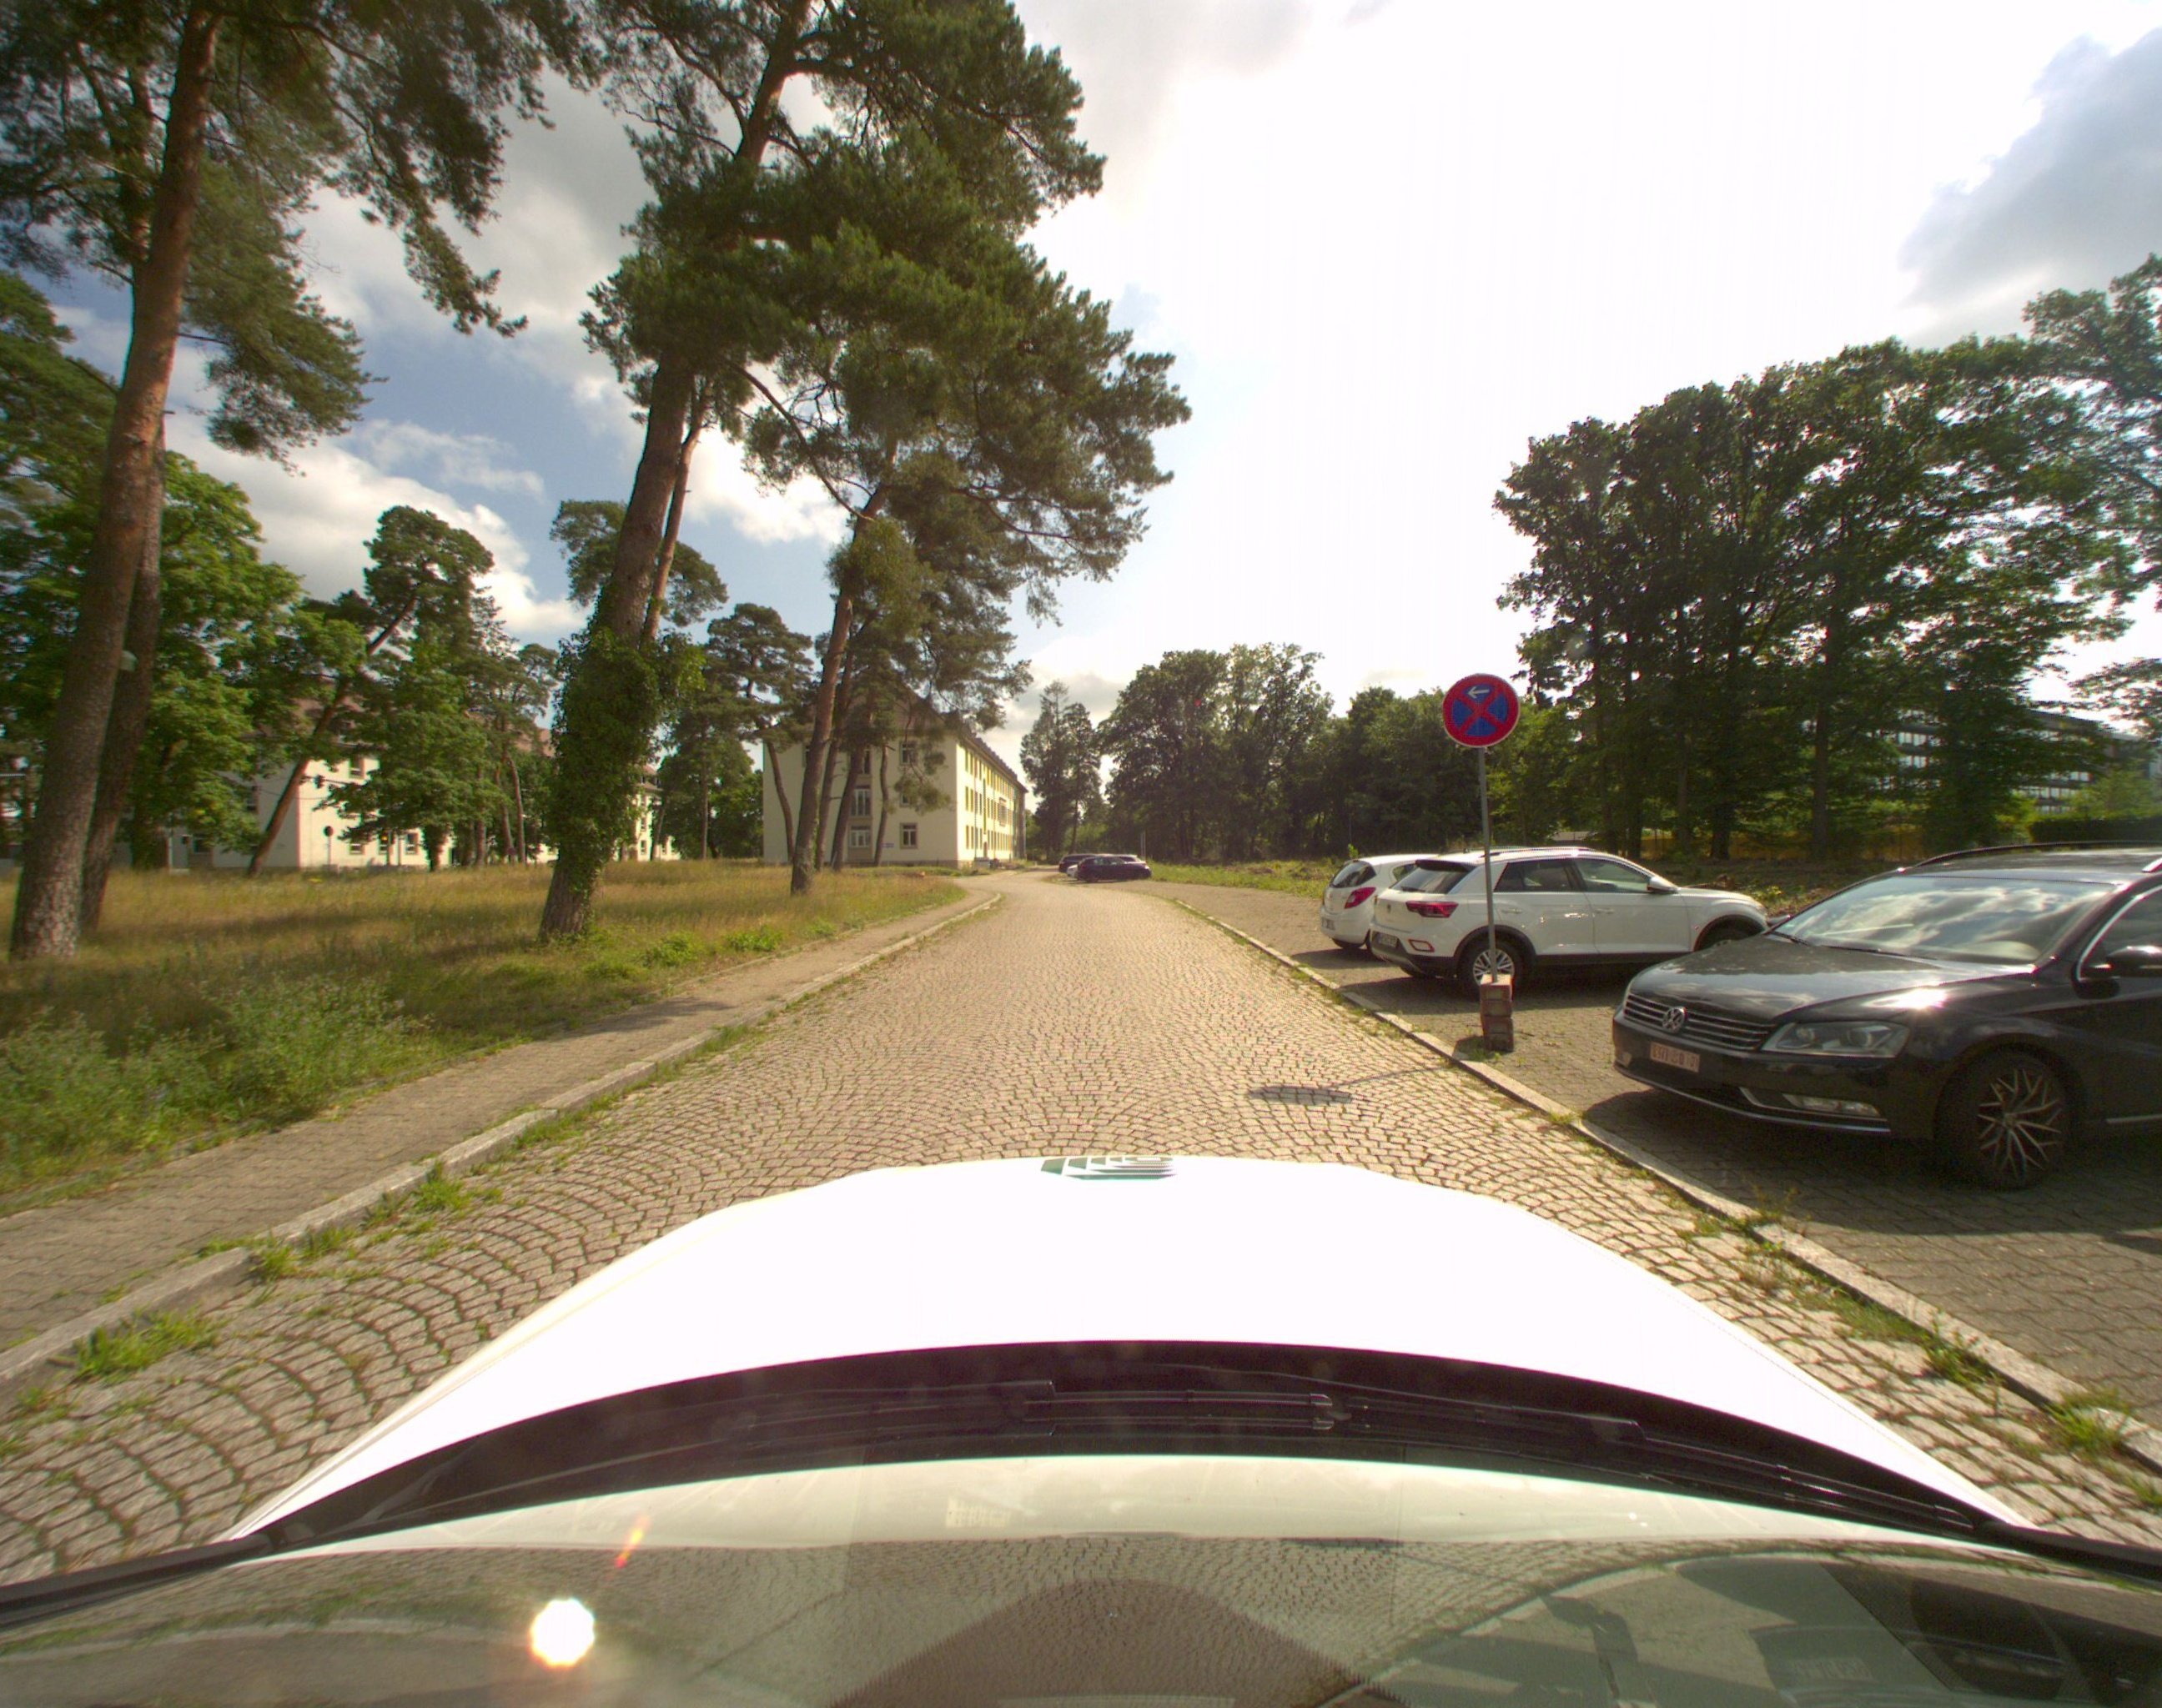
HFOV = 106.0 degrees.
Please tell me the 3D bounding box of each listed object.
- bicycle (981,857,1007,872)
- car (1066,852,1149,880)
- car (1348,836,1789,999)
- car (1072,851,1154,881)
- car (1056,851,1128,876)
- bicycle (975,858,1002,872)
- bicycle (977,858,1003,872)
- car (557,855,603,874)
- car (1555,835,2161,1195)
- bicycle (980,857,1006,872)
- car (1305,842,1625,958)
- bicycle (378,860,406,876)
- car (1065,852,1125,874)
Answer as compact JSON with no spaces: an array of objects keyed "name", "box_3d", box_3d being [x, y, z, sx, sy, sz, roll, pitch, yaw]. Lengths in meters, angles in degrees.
[{"name":"bicycle","box_3d":[-7.967,0.971,74.538,2.213,1.260,0.623,-1,0,2]},{"name":"car","box_3d":[1.549,0.685,49.104,4.848,1.472,1.874,-2,1,-2]},{"name":"car","box_3d":[5.332,0.645,9.258,3.977,1.507,1.745,-2,0,-2]},{"name":"car","box_3d":[1.761,0.665,45.922,4.321,1.500,1.825,-2,1,-8]},{"name":"car","box_3d":[0.769,0.666,56.359,4.839,1.552,1.879,-2,-1,-1]},{"name":"bicycle","box_3d":[-8.151,0.965,71.721,2.213,1.260,0.623,-1,0,2]},{"name":"bicycle","box_3d":[-8.116,0.986,72.548,2.210,1.260,0.624,-1,0,6]},{"name":"car","box_3d":[-55.138,1.159,89.689,4.044,1.991,1.713,-1,0,1]},{"name":"car","box_3d":[5.412,0.691,4.650,4.445,1.475,1.743,-2,0,-4]},{"name":"bicycle","box_3d":[-7.960,0.967,73.530,2.213,1.260,0.623,-1,0,2]},{"name":"car","box_3d":[5.661,0.648,12.321,4.032,1.464,1.703,-2,0,-3]},{"name":"bicycle","box_3d":[-49.232,1.006,58.213,0.486,1.100,1.591,-1,0,12]},{"name":"car","box_3d":[1.038,0.717,61.767,4.386,1.484,1.765,-2,-1,-1]}]
